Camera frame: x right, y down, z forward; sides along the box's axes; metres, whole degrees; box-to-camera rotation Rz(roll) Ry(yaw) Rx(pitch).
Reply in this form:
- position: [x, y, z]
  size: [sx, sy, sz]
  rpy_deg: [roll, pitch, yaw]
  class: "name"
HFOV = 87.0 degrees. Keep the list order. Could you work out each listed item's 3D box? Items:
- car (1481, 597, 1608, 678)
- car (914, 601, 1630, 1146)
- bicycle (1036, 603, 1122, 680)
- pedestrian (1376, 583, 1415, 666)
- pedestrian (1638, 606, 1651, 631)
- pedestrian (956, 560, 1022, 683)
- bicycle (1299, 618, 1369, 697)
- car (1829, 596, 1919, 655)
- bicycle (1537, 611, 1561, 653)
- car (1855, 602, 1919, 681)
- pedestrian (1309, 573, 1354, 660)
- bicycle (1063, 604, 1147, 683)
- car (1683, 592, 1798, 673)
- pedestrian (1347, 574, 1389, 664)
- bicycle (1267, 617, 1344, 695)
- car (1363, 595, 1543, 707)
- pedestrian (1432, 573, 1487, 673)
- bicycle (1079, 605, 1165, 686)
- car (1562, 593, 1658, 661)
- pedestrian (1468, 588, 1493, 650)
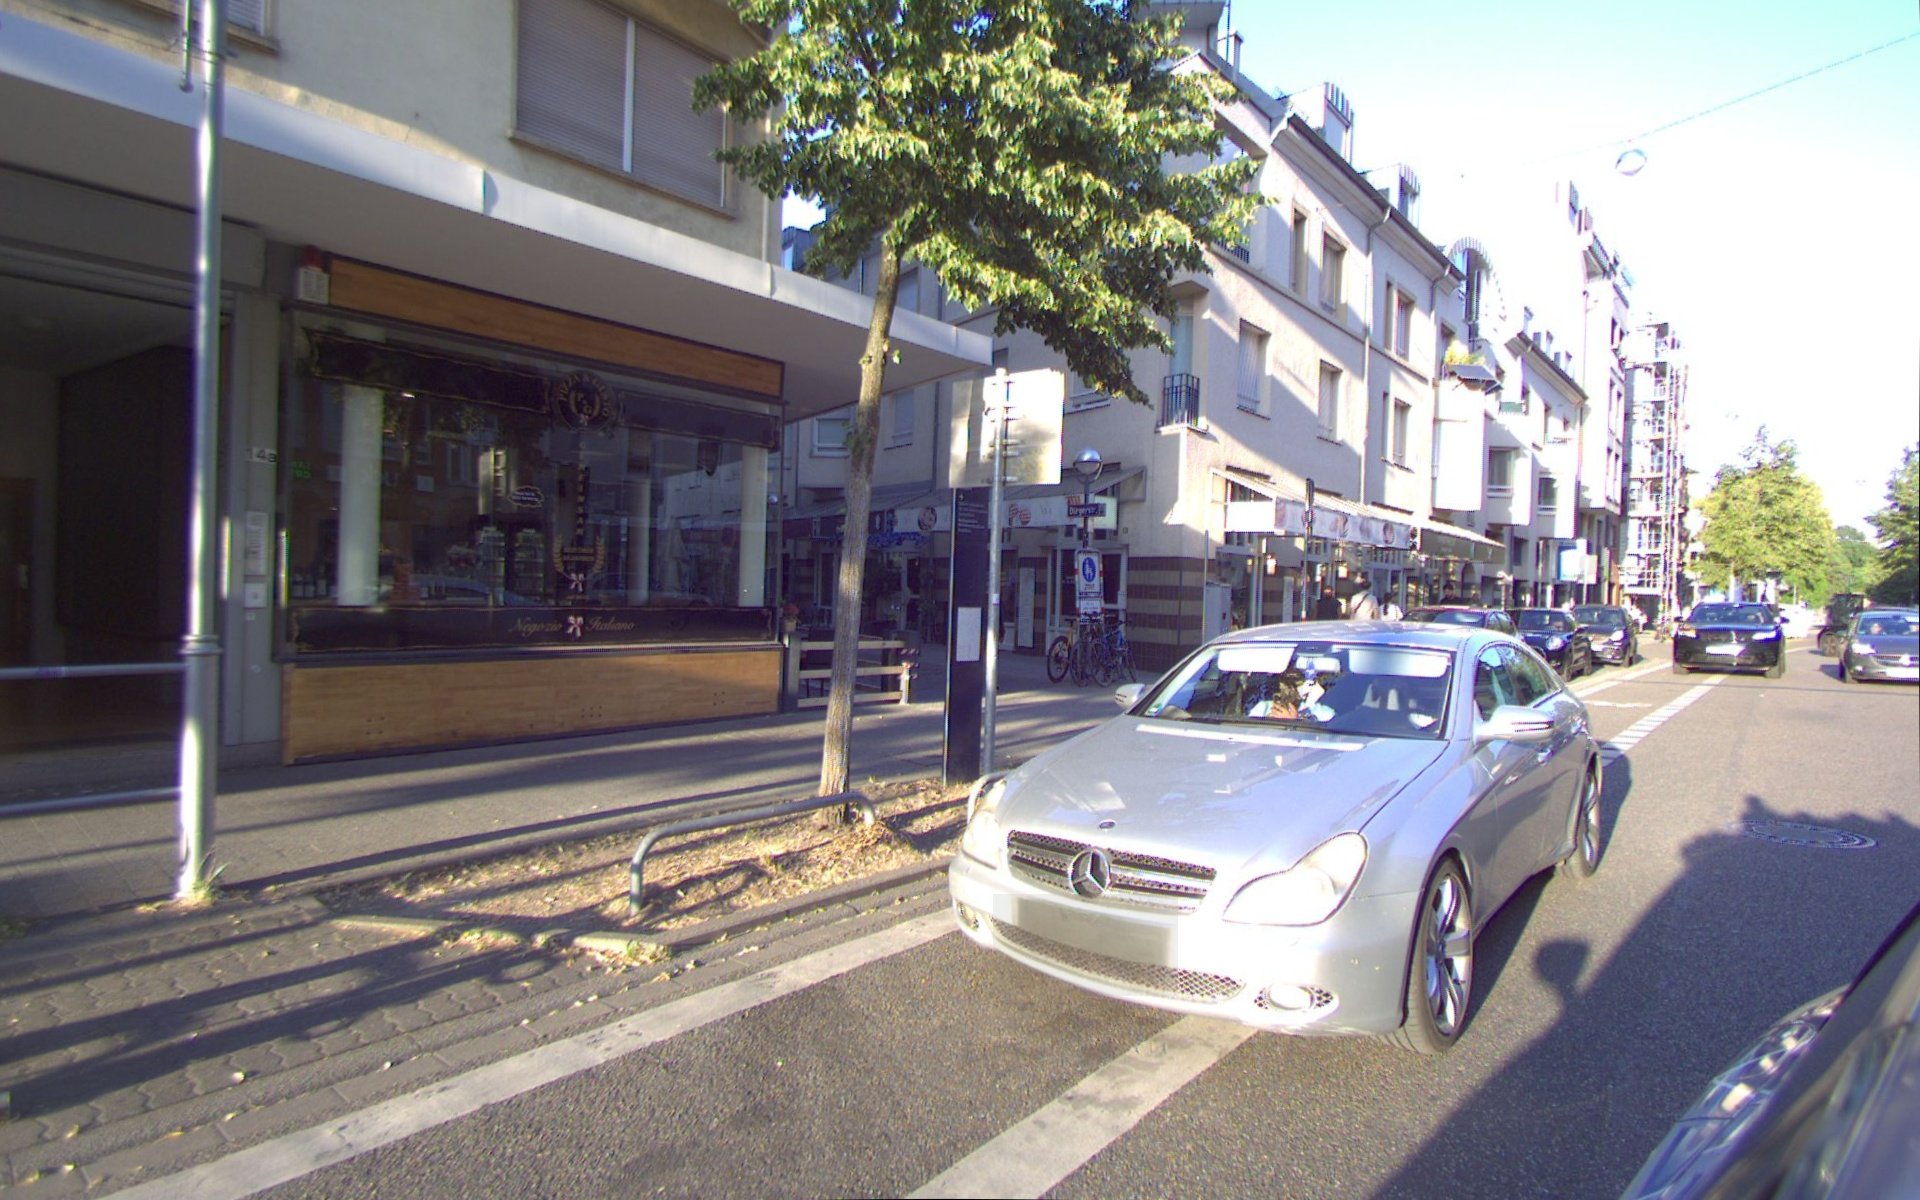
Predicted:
- position: [12.249, 0.713, 21.116]
  size: [1.615, 1.452, 3.868]
  rpy_deg: [3, 2, 40]
  class: "car"
- position: [1.953, 0.722, 4.990]
  size: [1.740, 1.419, 4.571]
  rpy_deg: [0, 0, 40]
  class: "car"
- position: [1.873, 0.613, 15.722]
  size: [0.320, 1.118, 1.851]
  rpy_deg: [2, 1, 41]
  class: "bicycle"
- position: [8.807, 0.484, 20.452]
  size: [0.519, 1.612, 0.402]
  rpy_deg: [5, 3, 41]
  class: "pedestrian"
- position: [35.387, 0.939, 52.310]
  size: [0.490, 1.279, 0.415]
  rpy_deg: [0, 0, 42]
  class: "pedestrian"
- position: [0.407, 0.295, 14.556]
  size: [0.688, 1.696, 0.799]
  rpy_deg: [2, 2, -13]
  class: "pedestrian"
- position: [5.495, 0.817, 14.832]
  size: [0.314, 1.059, 1.638]
  rpy_deg: [3, 2, 43]
  class: "bicycle"
- position: [29.447, 0.784, 31.140]
  size: [1.704, 1.696, 4.294]
  rpy_deg: [2, 1, 2]
  class: "car"
- position: [16.270, 0.865, 27.952]
  size: [0.295, 1.099, 1.441]
  rpy_deg: [1, 1, 41]
  class: "bicycle"
- position: [19.313, 0.791, 20.549]
  size: [1.616, 1.492, 3.634]
  rpy_deg: [0, 0, 41]
  class: "car"
- position: [7.770, 0.331, 21.149]
  size: [0.629, 1.771, 0.660]
  rpy_deg: [3, 1, 41]
  class: "pedestrian"
- position: [2.227, 0.631, 15.387]
  size: [0.290, 1.118, 1.859]
  rpy_deg: [2, 1, 41]
  class: "bicycle"
- position: [17.940, 0.674, 23.188]
  size: [1.884, 1.656, 4.165]
  rpy_deg: [0, 0, 41]
  class: "car"
- position: [8.260, 0.374, 20.491]
  size: [0.543, 1.779, 0.495]
  rpy_deg: [5, 3, 41]
  class: "pedestrian"
- position: [5.130, 0.796, 14.965]
  size: [0.314, 1.059, 1.853]
  rpy_deg: [3, 2, 43]
  class: "bicycle"
- position: [7.767, 0.695, 15.774]
  size: [1.587, 1.451, 3.868]
  rpy_deg: [4, 2, 40]
  class: "car"
- position: [9.834, 0.450, 19.927]
  size: [0.776, 1.907, 0.660]
  rpy_deg: [-2, -2, 41]
  class: "pedestrian"
- position: [2.456, 0.646, 15.182]
  size: [0.320, 1.118, 1.851]
  rpy_deg: [2, 1, 41]
  class: "bicycle"
- position: [17.176, 0.672, 26.679]
  size: [1.615, 1.612, 3.868]
  rpy_deg: [2, 1, 40]
  class: "car"
- position: [15.382, 0.557, 29.883]
  size: [0.574, 1.823, 0.443]
  rpy_deg: [0, 0, 40]
  class: "pedestrian"
